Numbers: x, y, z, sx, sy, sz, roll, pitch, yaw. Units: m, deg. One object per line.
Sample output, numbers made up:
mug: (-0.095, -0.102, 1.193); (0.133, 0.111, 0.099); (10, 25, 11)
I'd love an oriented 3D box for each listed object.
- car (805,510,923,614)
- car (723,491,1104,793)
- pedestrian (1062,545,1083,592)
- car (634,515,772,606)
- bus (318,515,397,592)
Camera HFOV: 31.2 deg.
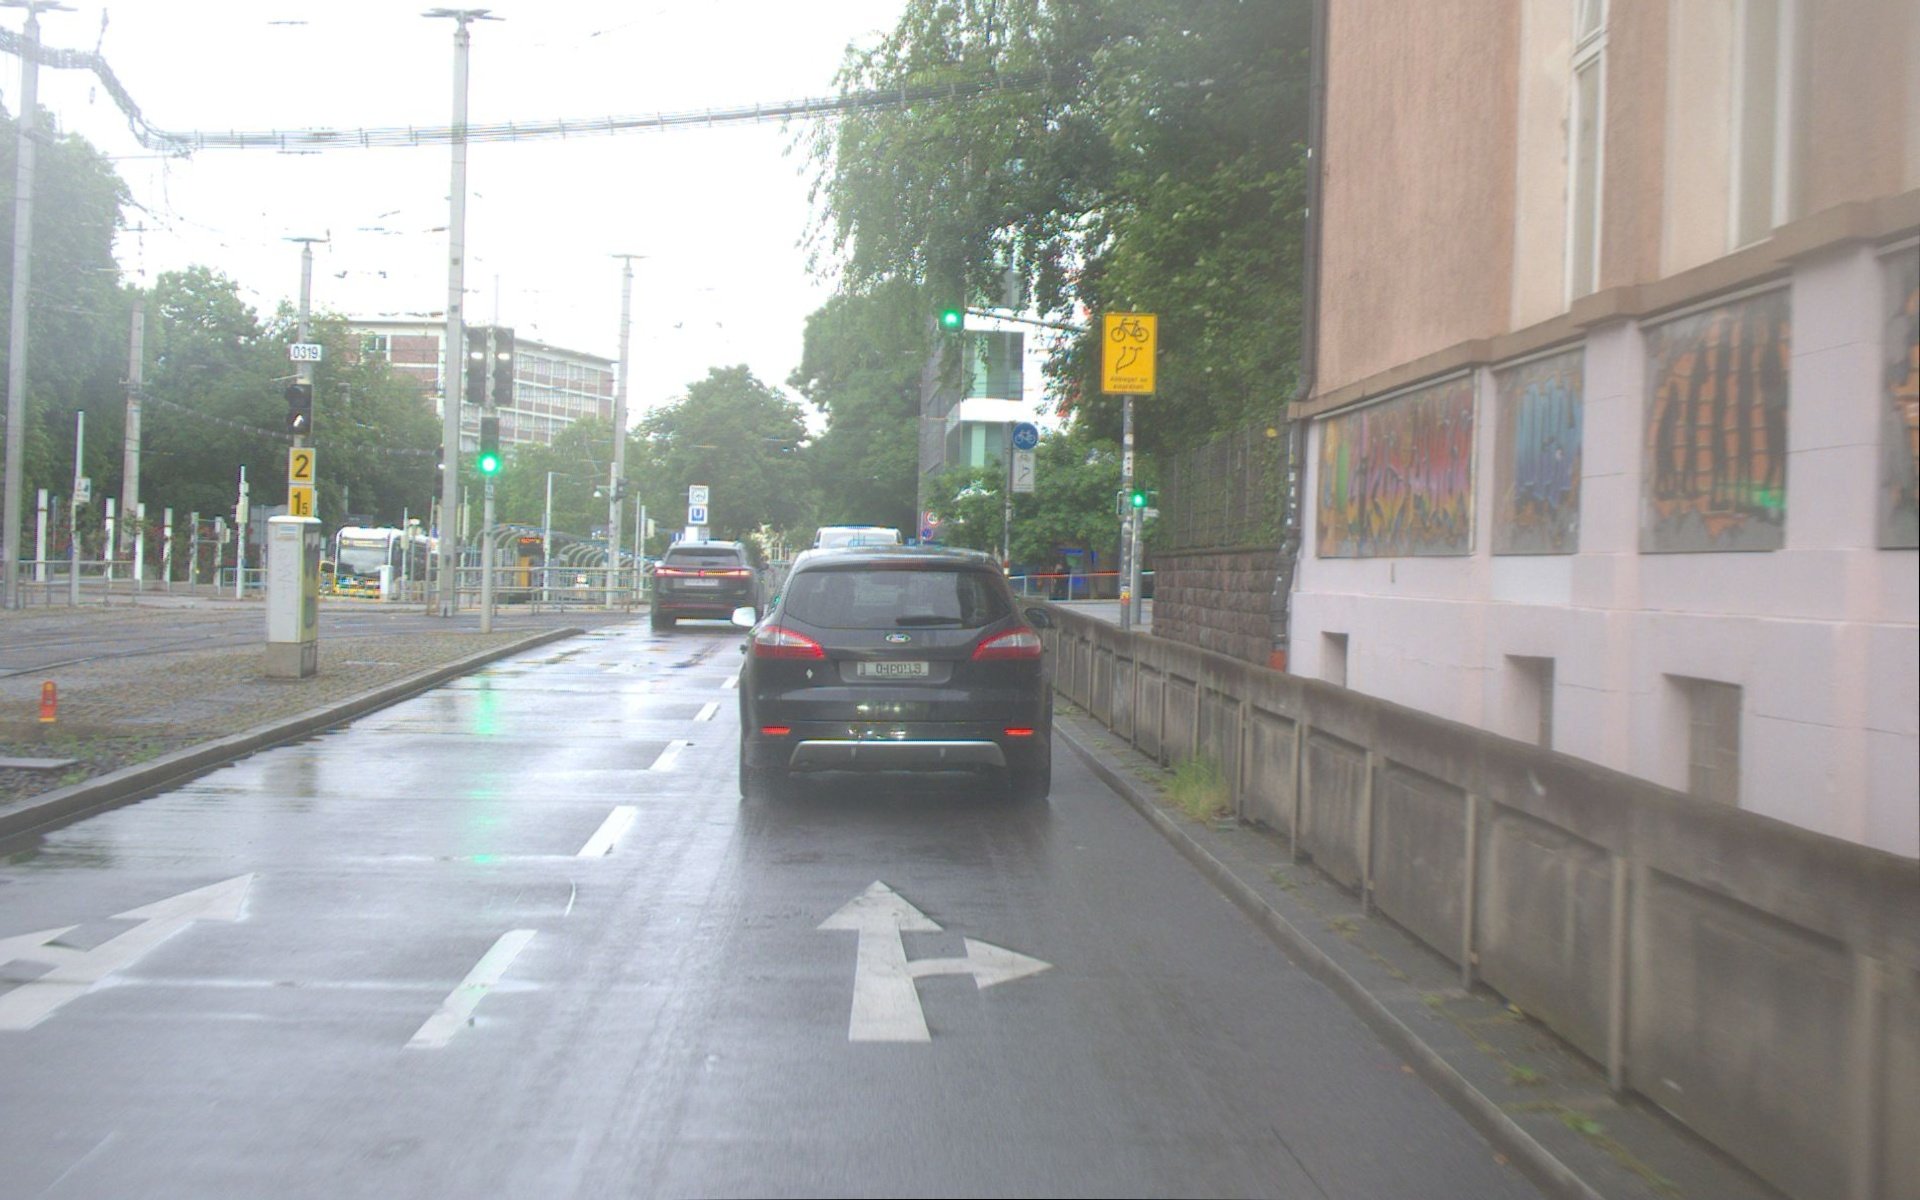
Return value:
car: (-1.794, -0.734, 65.583); (2.036, 1.833, 4.392); (2, 1, 0)
car: (-0.317, 0.195, 21.076); (2.035, 1.579, 4.392); (2, 1, -2)
pedestrian: (3.684, -1.035, 112.775); (0.542, 1.558, 0.521); (1, 0, 19)
car: (-4.463, -0.689, 60.352); (2.098, 1.500, 4.732); (1, 1, 0)
bus: (-27.007, -2.074, 154.482); (3.076, 3.289, 12.526); (1, 1, -8)
